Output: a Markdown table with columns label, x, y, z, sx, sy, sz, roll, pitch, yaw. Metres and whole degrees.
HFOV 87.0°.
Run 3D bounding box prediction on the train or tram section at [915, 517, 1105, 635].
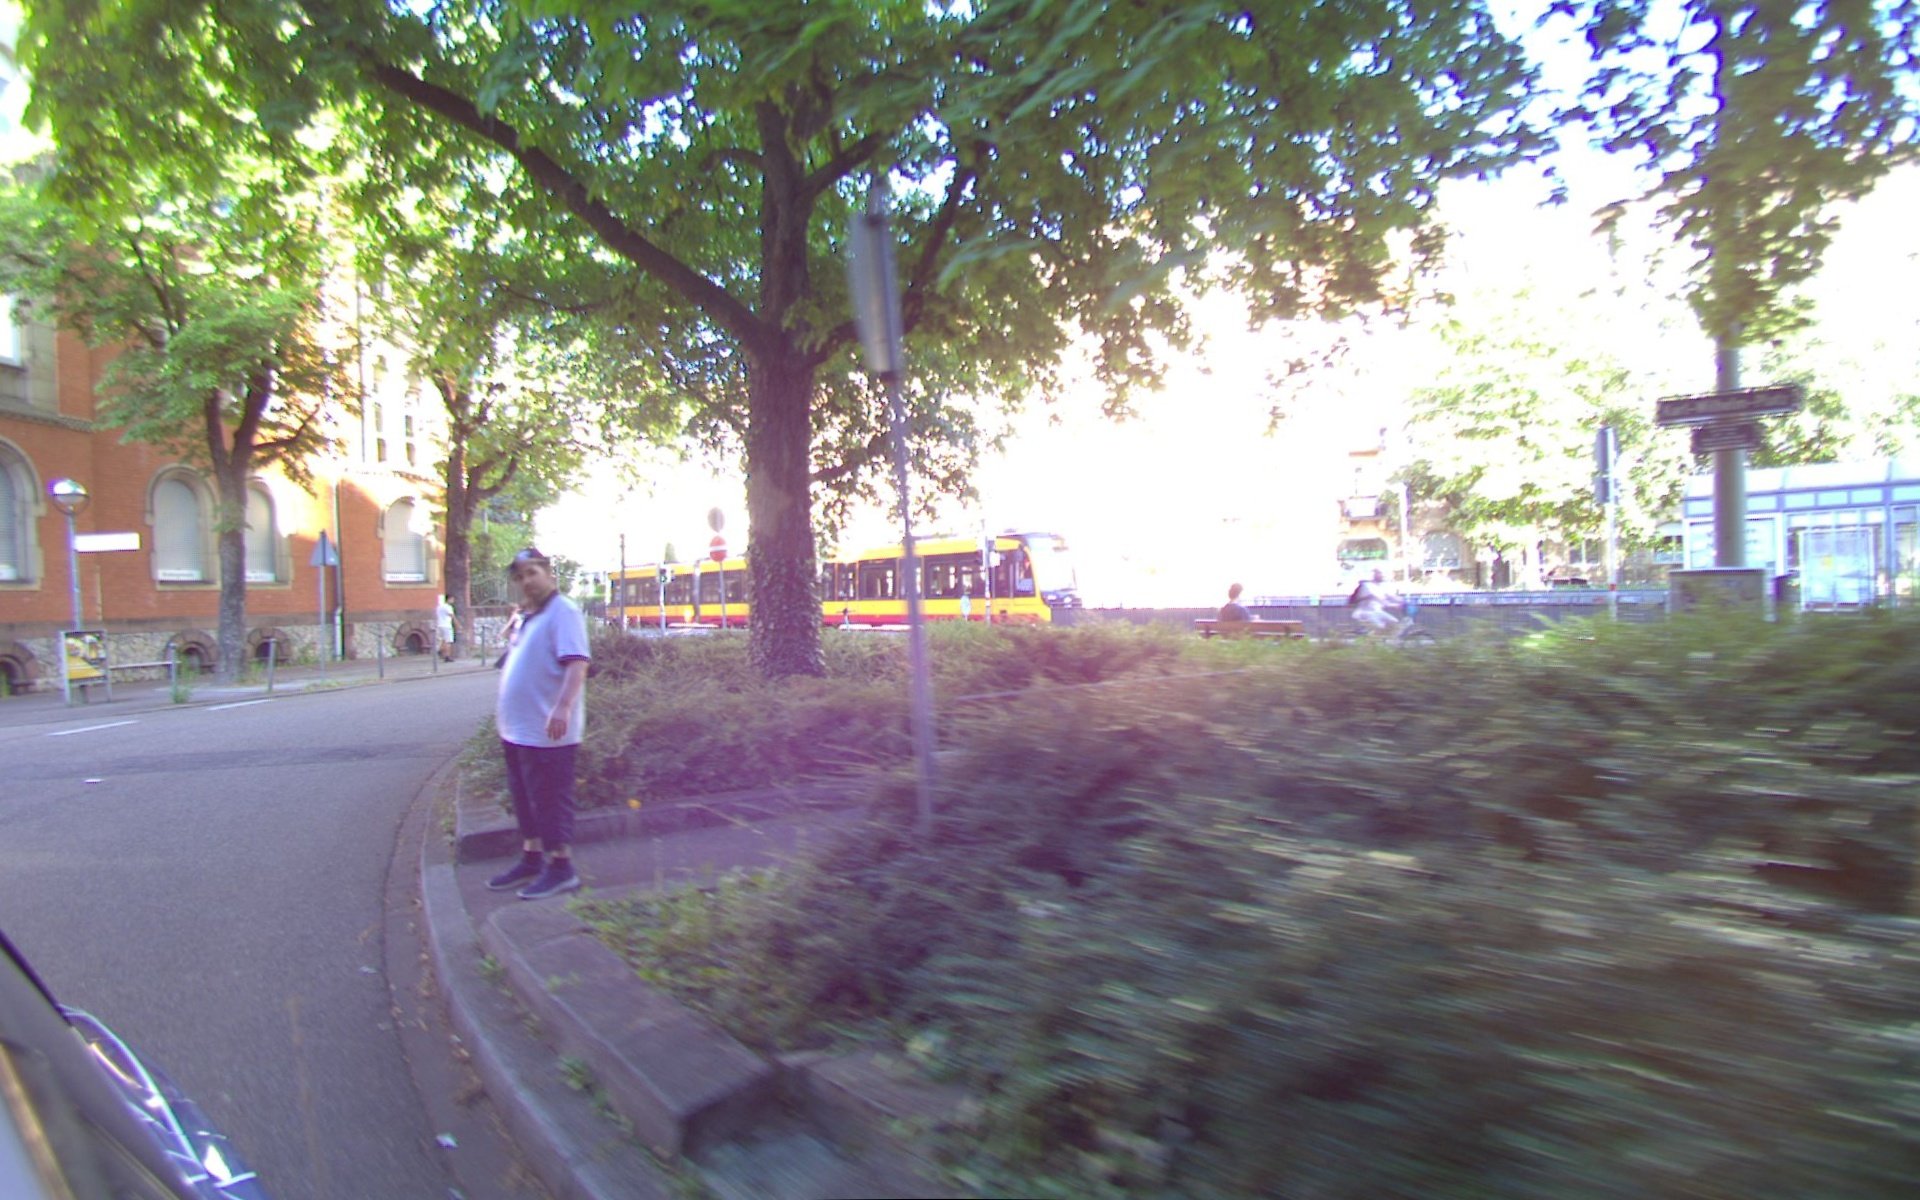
| label | x | y | z | sx | sy | sz | roll | pitch | yaw |
| --- | --- | --- | --- | --- | --- | --- | --- | --- | --- |
| train or tram section | 1.575 | -0.727 | 34.728 | 2.876 | 3.668 | 6.357 | -2 | 0 | -40 |

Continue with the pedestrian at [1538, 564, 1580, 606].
| label | x | y | z | sx | sy | sz | roll | pitch | yaw |
| --- | --- | --- | --- | --- | --- | --- | --- | --- | --- |
| pedestrian | 28.864 | -0.716 | 48.809 | 1.483 | 1.926 | 1.252 | -2 | 0 | 20 |

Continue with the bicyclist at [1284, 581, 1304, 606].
| label | x | y | z | sx | sy | sz | roll | pitch | yaw |
| --- | --- | --- | --- | --- | --- | --- | --- | --- | --- |
| bicyclist | 14.527 | -0.294 | 44.028 | 0.669 | 1.062 | 0.611 | -2 | 0 | 8 |

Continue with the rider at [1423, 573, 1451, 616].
| label | x | y | z | sx | sy | sz | roll | pitch | yaw |
| --- | --- | --- | --- | --- | --- | --- | --- | --- | --- |
| rider | 19.348 | -0.245 | 41.048 | 0.660 | 1.694 | 0.823 | -1 | 2 | -9 |

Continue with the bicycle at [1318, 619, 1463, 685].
| label | x | y | z | sx | sy | sz | roll | pitch | yaw |
| --- | --- | --- | --- | --- | --- | --- | --- | --- | --- |
| bicycle | 6.841 | 0.806 | 16.178 | 0.759 | 0.965 | 1.985 | -2 | 0 | -40 |

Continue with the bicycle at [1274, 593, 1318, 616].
| label | x | y | z | sx | sy | sz | roll | pitch | yaw |
| --- | --- | --- | --- | --- | --- | --- | --- | --- | --- |
| bicycle | 14.597 | 0.182 | 44.021 | 1.722 | 0.953 | 0.653 | -1 | 0 | 9 |

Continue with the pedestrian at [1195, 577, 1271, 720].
| label | x | y | z | sx | sy | sz | roll | pitch | yaw |
| --- | --- | --- | --- | --- | --- | --- | --- | --- | --- |
| pedestrian | 3.369 | 0.580 | 12.524 | 0.812 | 1.696 | 0.895 | -2 | 0 | 15 |

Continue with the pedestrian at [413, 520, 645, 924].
| label | x | y | z | sx | sy | sz | roll | pitch | yaw |
| --- | --- | --- | --- | --- | --- | --- | --- | --- | --- |
| pedestrian | -1.991 | 0.517 | 4.813 | 0.767 | 1.696 | 0.920 | -2 | 0 | -9 |

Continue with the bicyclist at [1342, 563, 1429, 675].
| label | x | y | z | sx | sy | sz | roll | pitch | yaw |
| --- | --- | --- | --- | --- | --- | --- | --- | --- | --- |
| bicyclist | 6.836 | 0.302 | 16.270 | 0.685 | 1.729 | 1.049 | -2 | 0 | -40 |

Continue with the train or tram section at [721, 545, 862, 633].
| label | x | y | z | sx | sy | sz | roll | pitch | yaw |
| --- | --- | --- | --- | --- | --- | --- | --- | --- | --- |
| train or tram section | -7.731 | -0.440 | 45.701 | 2.888 | 3.626 | 7.200 | -3 | 1 | -40 |

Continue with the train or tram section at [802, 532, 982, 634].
| label | x | y | z | sx | sy | sz | roll | pitch | yaw |
| --- | --- | --- | --- | --- | --- | --- | --- | --- | --- |
| train or tram section | -2.875 | -0.584 | 39.959 | 2.876 | 3.641 | 7.872 | -2 | 0 | -40 |

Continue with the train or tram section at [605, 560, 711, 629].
| label | x | y | z | sx | sy | sz | roll | pitch | yaw |
| --- | --- | --- | --- | --- | --- | --- | --- | --- | --- |
| train or tram section | -17.005 | -0.314 | 56.684 | 2.927 | 3.533 | 7.201 | -3 | 2 | -40 |

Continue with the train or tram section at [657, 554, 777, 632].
| label | x | y | z | sx | sy | sz | roll | pitch | yaw |
| --- | --- | --- | --- | --- | --- | --- | --- | --- | --- |
| train or tram section | -12.392 | -0.351 | 51.189 | 2.893 | 3.617 | 7.201 | -3 | 2 | -40 |

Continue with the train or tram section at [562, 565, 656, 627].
| label | x | y | z | sx | sy | sz | roll | pitch | yaw |
| --- | --- | --- | --- | --- | --- | --- | --- | --- | --- |
| train or tram section | -21.658 | -0.274 | 62.178 | 2.927 | 3.533 | 7.201 | -3 | 2 | -40 |

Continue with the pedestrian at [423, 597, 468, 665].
| label | x | y | z | sx | sy | sz | roll | pitch | yaw |
| --- | --- | --- | --- | --- | --- | --- | --- | --- | --- |
| pedestrian | -12.990 | 0.775 | 25.532 | 0.846 | 1.655 | 0.872 | -2 | 0 | -36 |

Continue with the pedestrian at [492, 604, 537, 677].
| label | x | y | z | sx | sy | sz | roll | pitch | yaw |
| --- | --- | --- | --- | --- | --- | --- | --- | --- | --- |
| pedestrian | -10.152 | 0.908 | 23.069 | 0.840 | 1.617 | 0.603 | -2 | 0 | -19 |
